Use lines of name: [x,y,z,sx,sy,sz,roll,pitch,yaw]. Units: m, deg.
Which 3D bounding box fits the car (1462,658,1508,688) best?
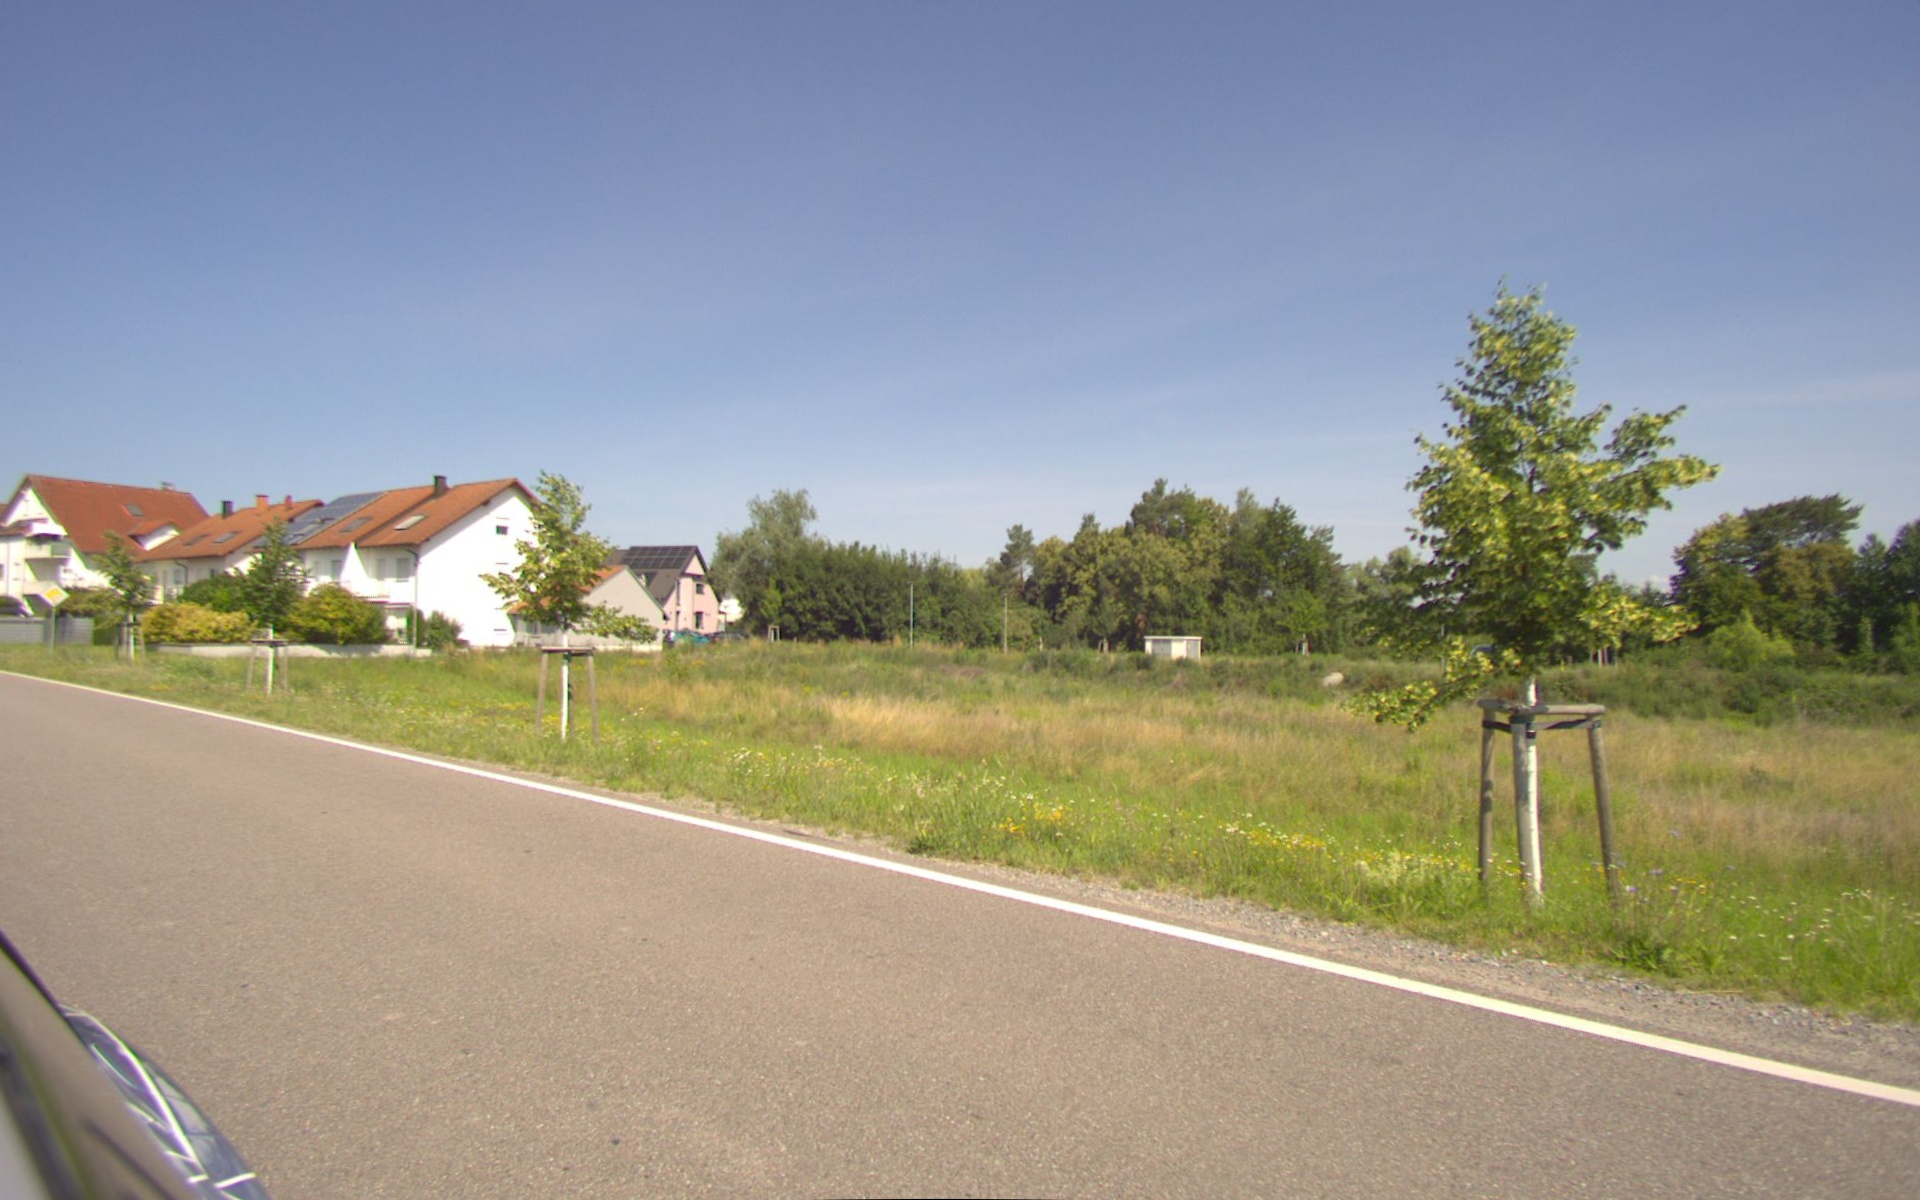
car: [29.353,4.055,56.528,1.512,1.547,3.508,-1,-3,41]
